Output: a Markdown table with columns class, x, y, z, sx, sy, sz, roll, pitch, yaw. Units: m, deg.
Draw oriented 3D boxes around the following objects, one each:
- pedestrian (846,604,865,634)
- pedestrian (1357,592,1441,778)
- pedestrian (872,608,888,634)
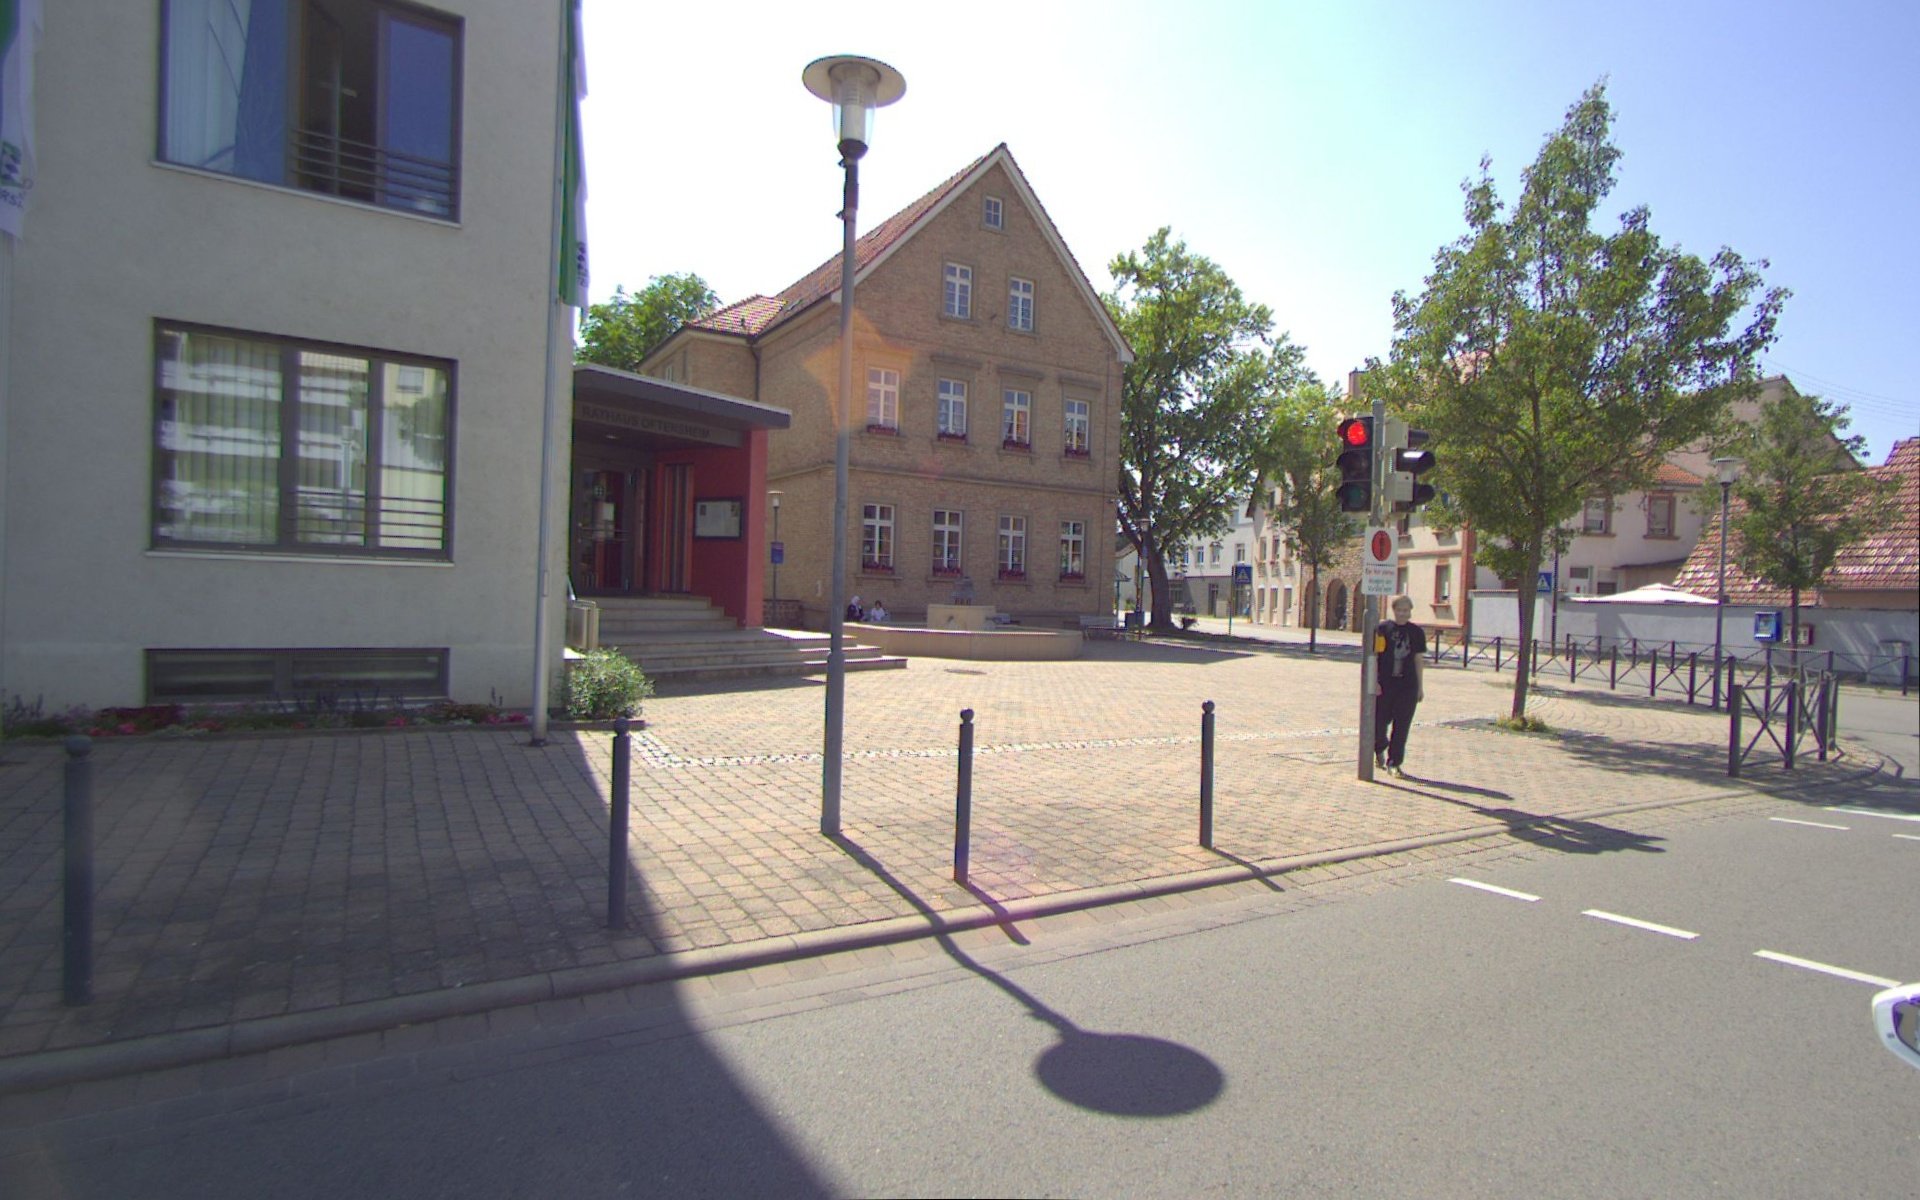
| class | x | y | z | sx | sy | sz | roll | pitch | yaw |
| --- | --- | --- | --- | --- | --- | --- | --- | --- | --- |
| pedestrian | -2.950 | 0.527 | 28.391 | 0.356 | 0.828 | 0.365 | 2 | 0 | 42 |
| pedestrian | 4.047 | 0.766 | 9.299 | 0.546 | 1.640 | 0.550 | 3 | 0 | 13 |
| pedestrian | -2.297 | 0.595 | 28.887 | 0.352 | 0.742 | 0.288 | 2 | 0 | 43 |
